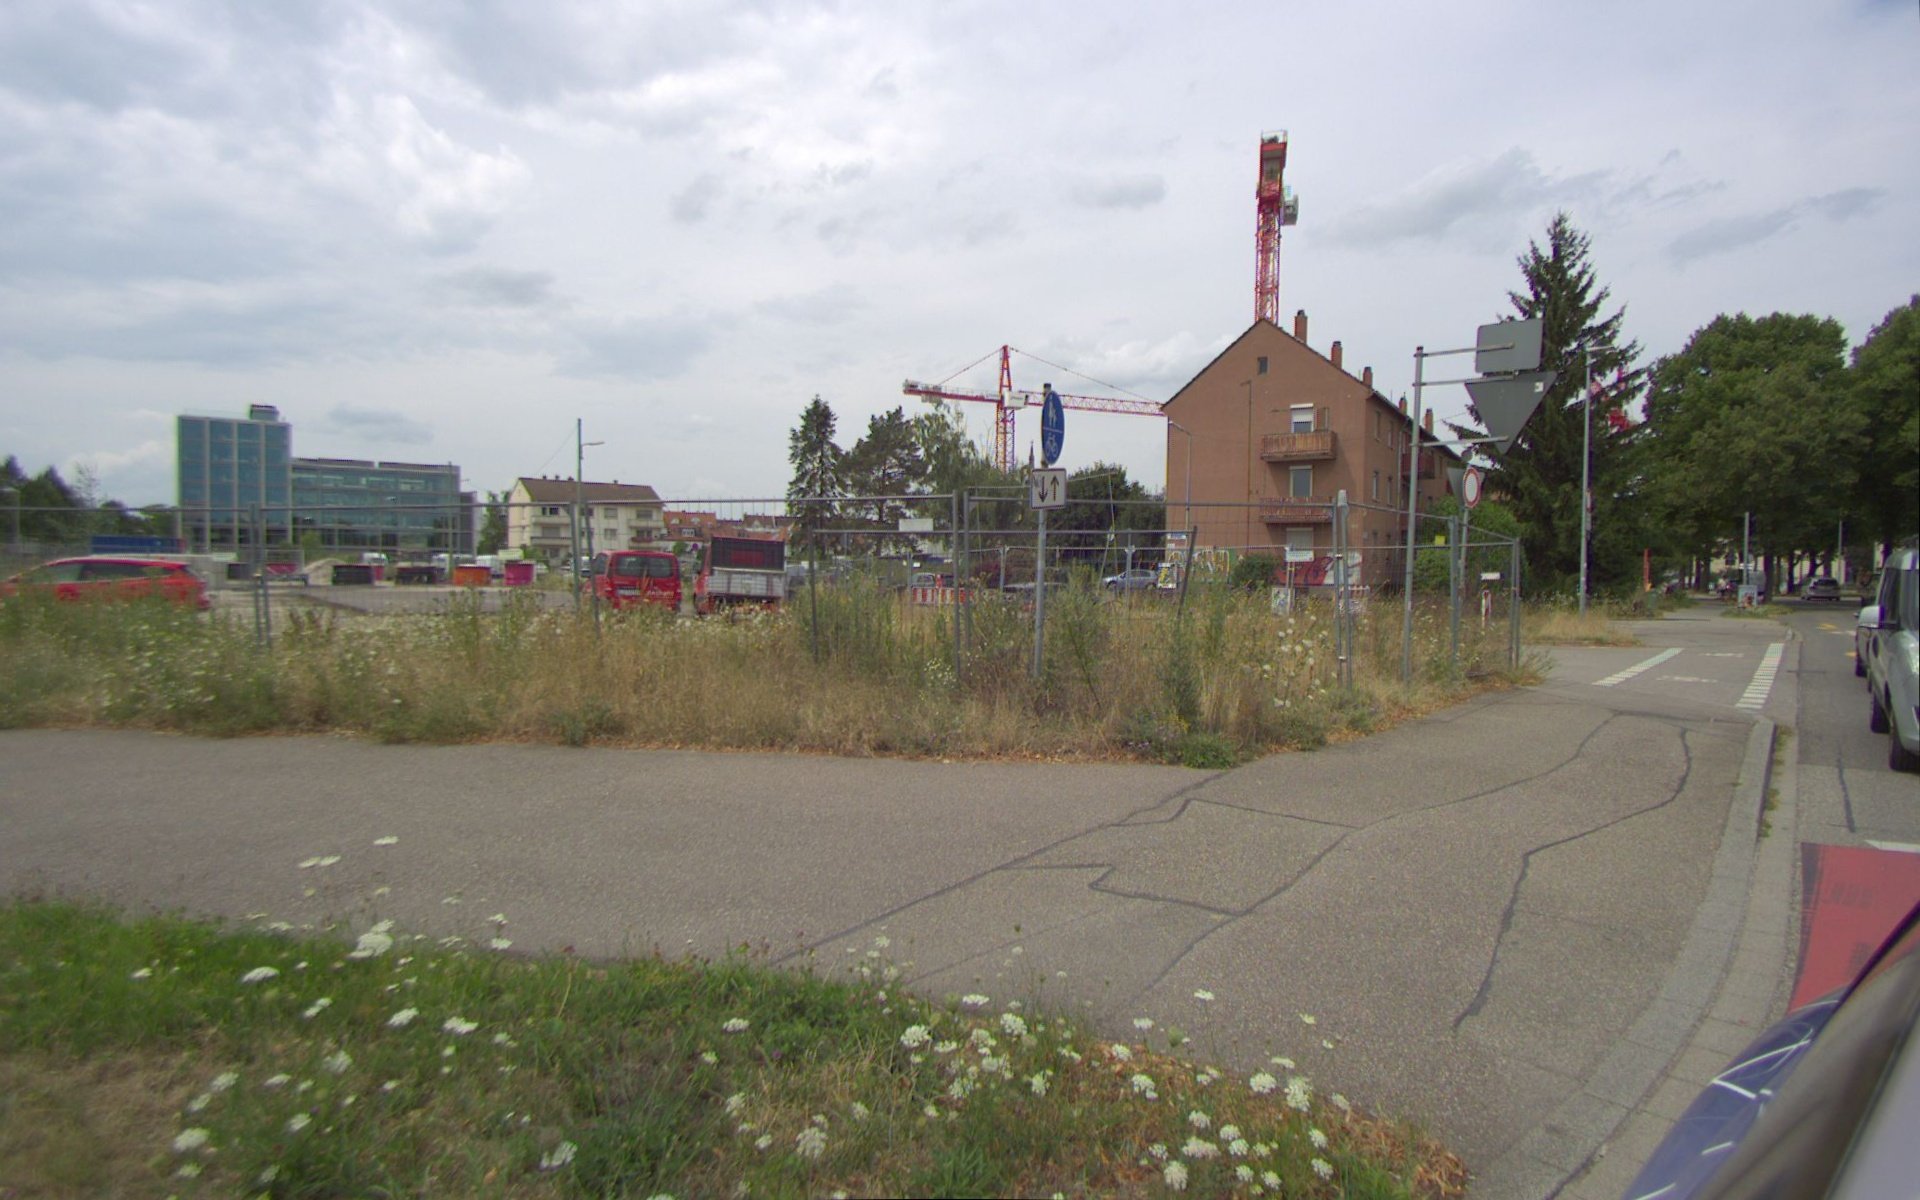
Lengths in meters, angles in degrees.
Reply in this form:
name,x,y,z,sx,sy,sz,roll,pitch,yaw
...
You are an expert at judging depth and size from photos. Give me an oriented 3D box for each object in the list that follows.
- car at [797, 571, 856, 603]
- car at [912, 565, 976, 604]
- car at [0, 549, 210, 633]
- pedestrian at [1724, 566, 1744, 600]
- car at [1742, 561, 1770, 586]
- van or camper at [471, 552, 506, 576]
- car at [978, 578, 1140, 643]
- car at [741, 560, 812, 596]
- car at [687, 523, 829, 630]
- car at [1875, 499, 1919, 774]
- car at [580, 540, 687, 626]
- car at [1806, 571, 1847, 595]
name,x,y,z,sx,sy,sz,roll,pitch,yaw
car,-7.912,-0.807,59.648,1.822,1.770,4.014,-1,2,-35
car,-0.861,-0.828,51.407,1.765,1.871,4.008,0,2,-25
car,-18.720,-0.212,20.877,5.053,1.624,1.786,-1,2,-43
pedestrian,46.239,-1.033,60.457,0.853,2.039,0.721,1,1,42
car,88.489,-2.950,112.533,2.058,2.719,5.896,1,2,35
van or camper,-54.458,-4.157,116.805,2.311,2.721,5.238,-1,2,-41
car,2.561,0.203,25.622,4.188,1.492,1.763,-1,2,-43
car,-11.626,-1.412,63.934,2.112,2.162,4.900,-1,2,-43
car,-5.482,-0.628,26.555,2.270,2.442,6.555,0,2,-24
car,8.977,0.241,8.421,1.803,1.971,4.518,1,2,40
car,-8.467,-0.434,25.945,1.896,1.934,4.997,2,0,-25
car,61.995,-1.228,72.441,1.791,1.643,4.687,1,2,36
